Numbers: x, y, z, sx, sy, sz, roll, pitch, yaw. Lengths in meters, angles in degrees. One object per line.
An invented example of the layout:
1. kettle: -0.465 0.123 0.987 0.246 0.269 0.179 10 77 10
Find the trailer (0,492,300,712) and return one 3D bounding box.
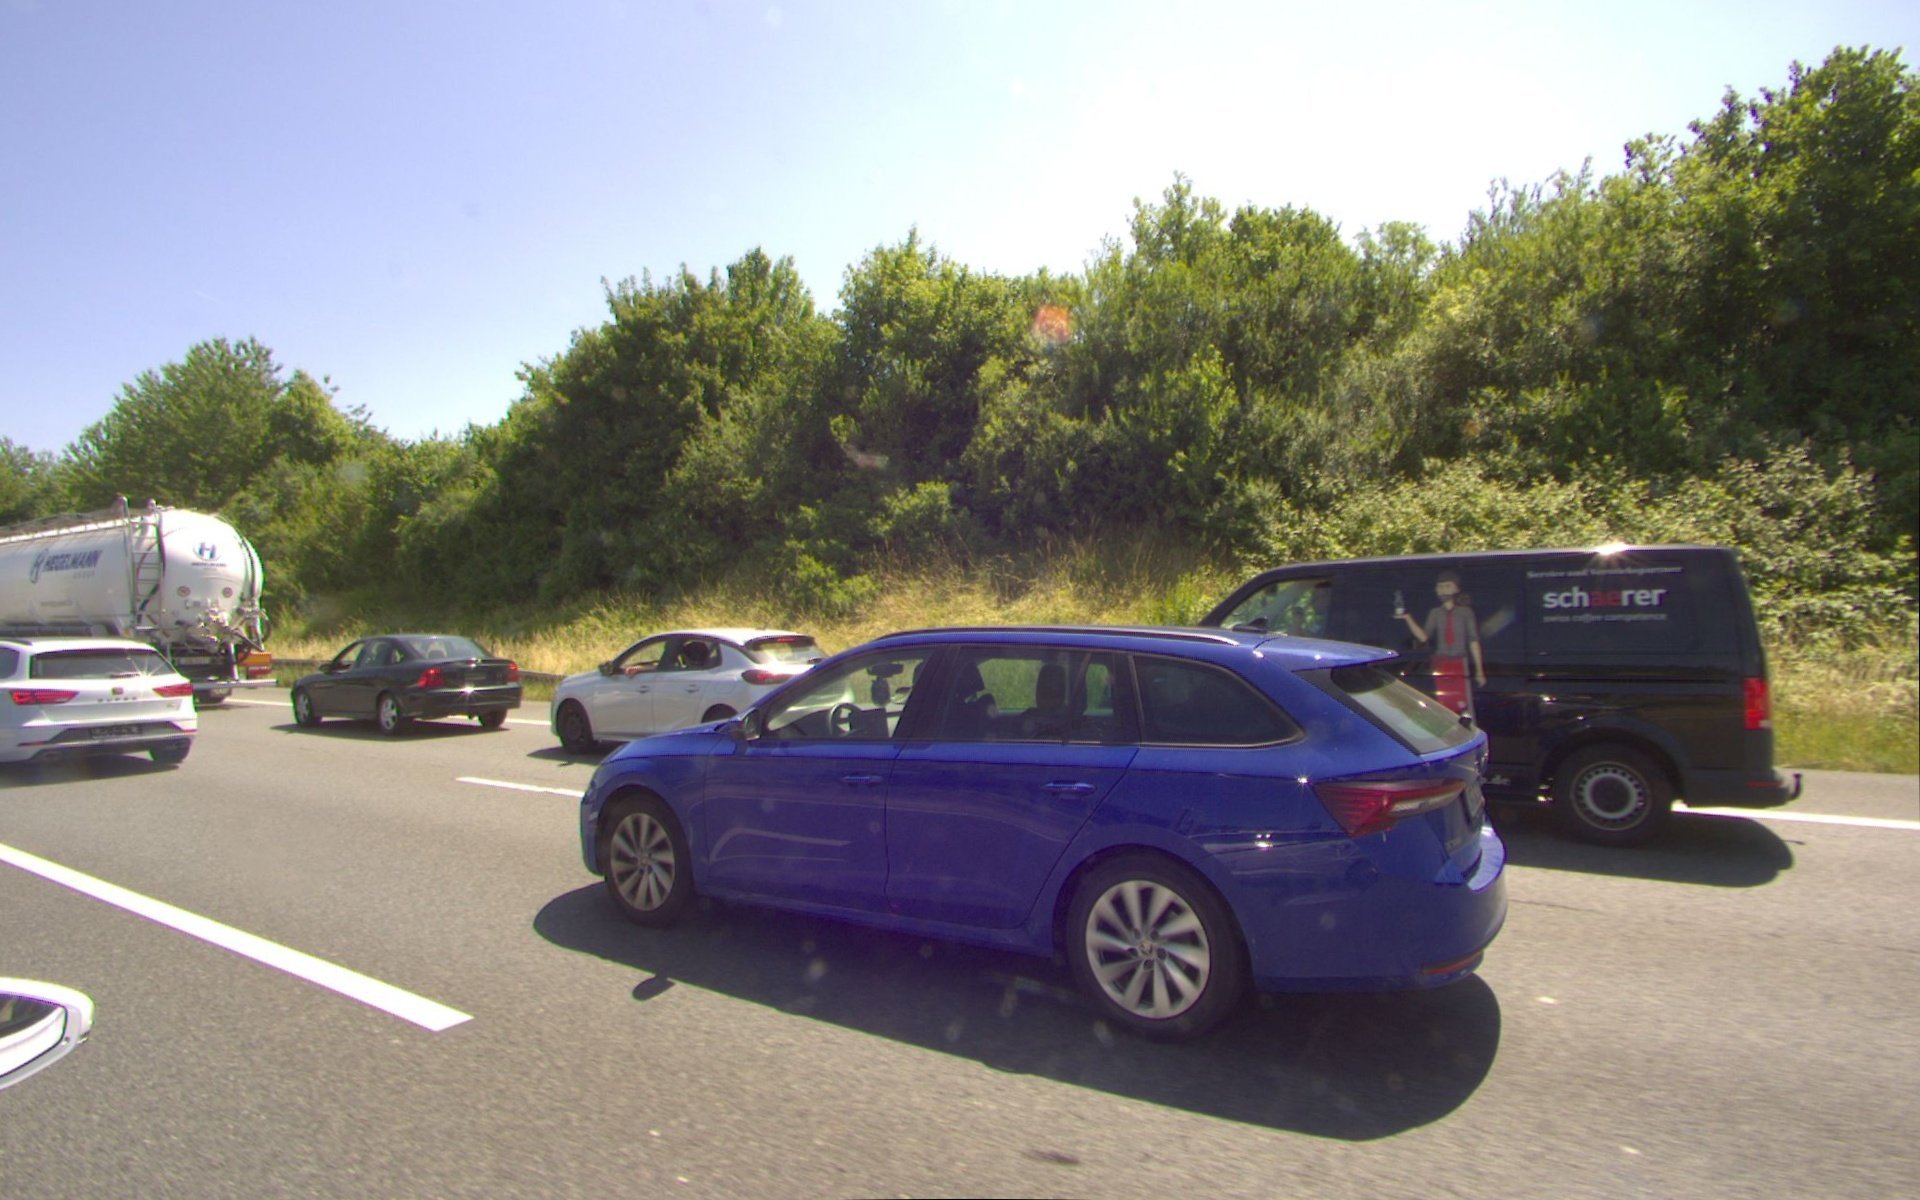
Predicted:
1. trailer: -18.738 0.147 21.960 11.324 3.895 2.755 -1 0 33

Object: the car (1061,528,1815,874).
1. car: 3.373 0.646 7.829 4.790 1.965 1.909 -2 -1 34

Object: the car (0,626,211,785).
1. car: -10.397 1.081 11.352 4.255 1.462 1.743 -2 -1 34

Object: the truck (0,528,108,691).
1. truck: -24.865 0.287 25.917 5.493 3.887 2.787 -1 0 33

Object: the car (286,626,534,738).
1. car: -8.361 1.171 15.134 3.935 1.435 1.637 -2 0 34

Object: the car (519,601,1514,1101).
1. car: 0.068 0.806 4.862 4.507 1.435 1.773 -2 0 32

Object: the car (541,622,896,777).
1. car: -2.847 1.005 11.554 3.971 1.462 1.727 0 0 33
